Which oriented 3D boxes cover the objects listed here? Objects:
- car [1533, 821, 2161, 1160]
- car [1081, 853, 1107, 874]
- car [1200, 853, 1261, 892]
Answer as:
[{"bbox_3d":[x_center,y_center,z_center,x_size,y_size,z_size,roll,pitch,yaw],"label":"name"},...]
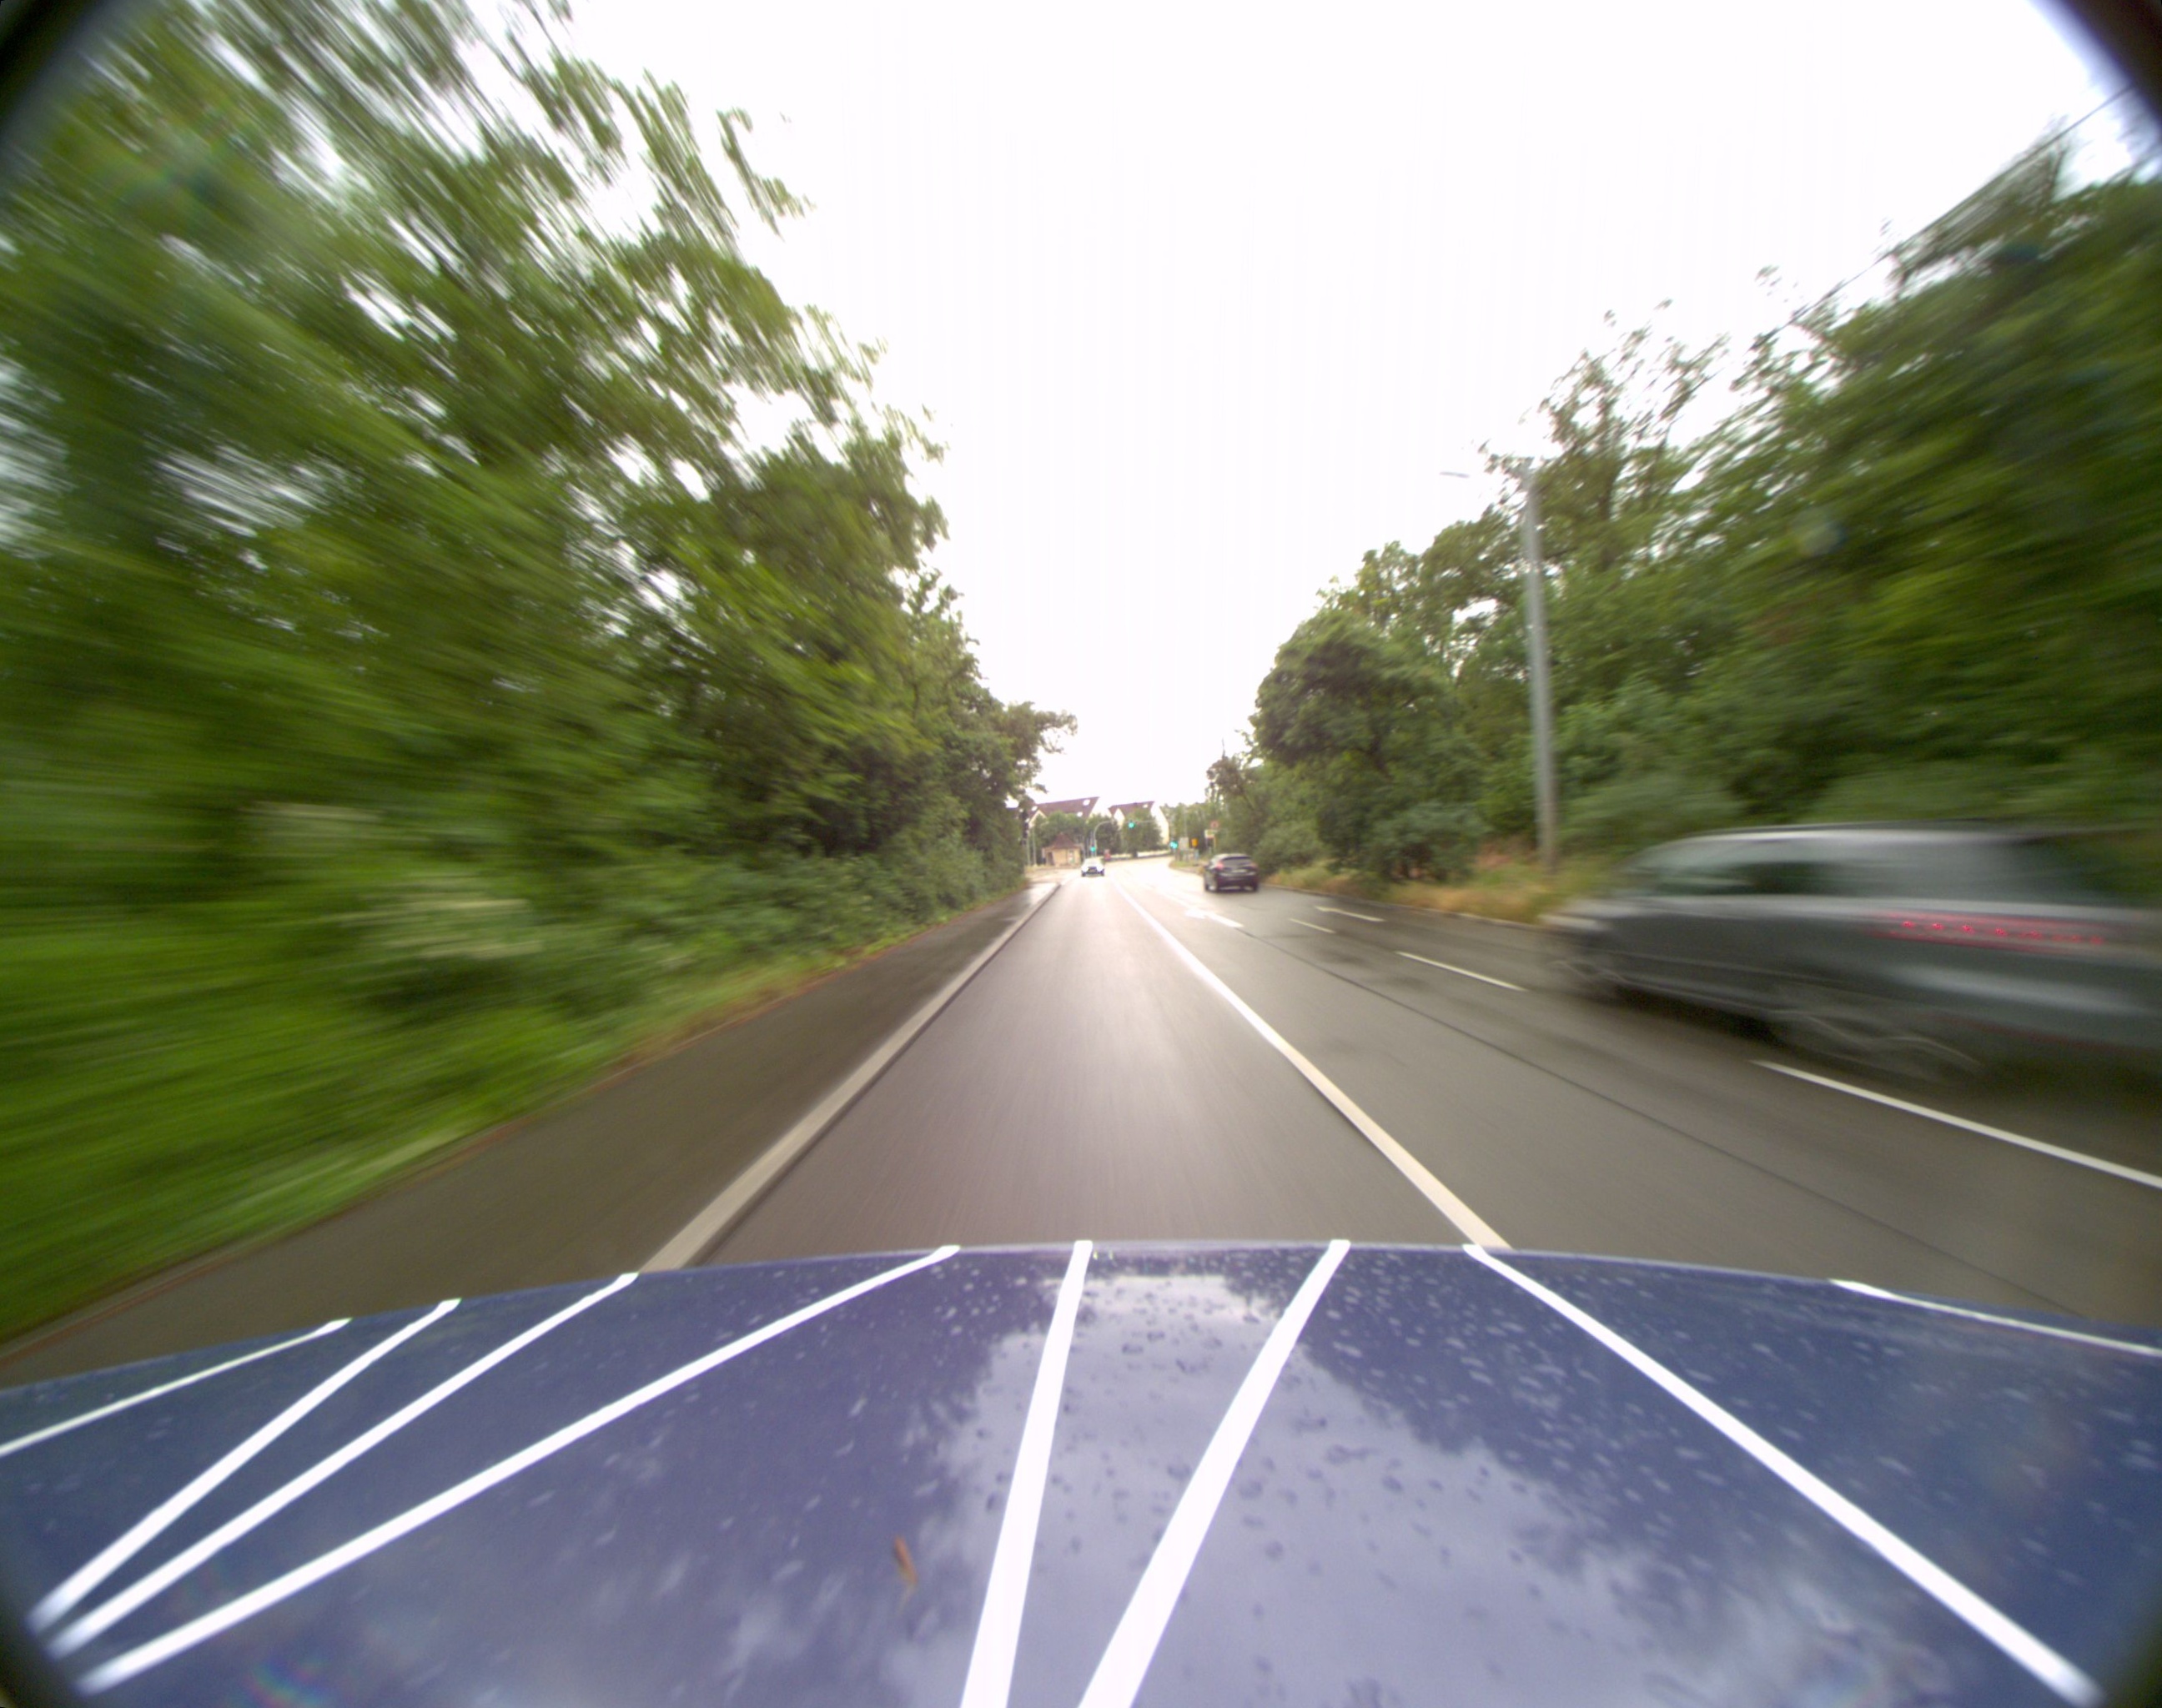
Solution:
[{"bbox_3d":[5.527,0.648,5.742,1.776,1.601,4.083,-3,0,1],"label":"car"},{"bbox_3d":[1.045,0.740,60.458,1.945,1.446,4.604,-3,1,2],"label":"car"},{"bbox_3d":[5.887,0.688,30.241,1.603,1.433,3.990,-2,0,0],"label":"car"}]
